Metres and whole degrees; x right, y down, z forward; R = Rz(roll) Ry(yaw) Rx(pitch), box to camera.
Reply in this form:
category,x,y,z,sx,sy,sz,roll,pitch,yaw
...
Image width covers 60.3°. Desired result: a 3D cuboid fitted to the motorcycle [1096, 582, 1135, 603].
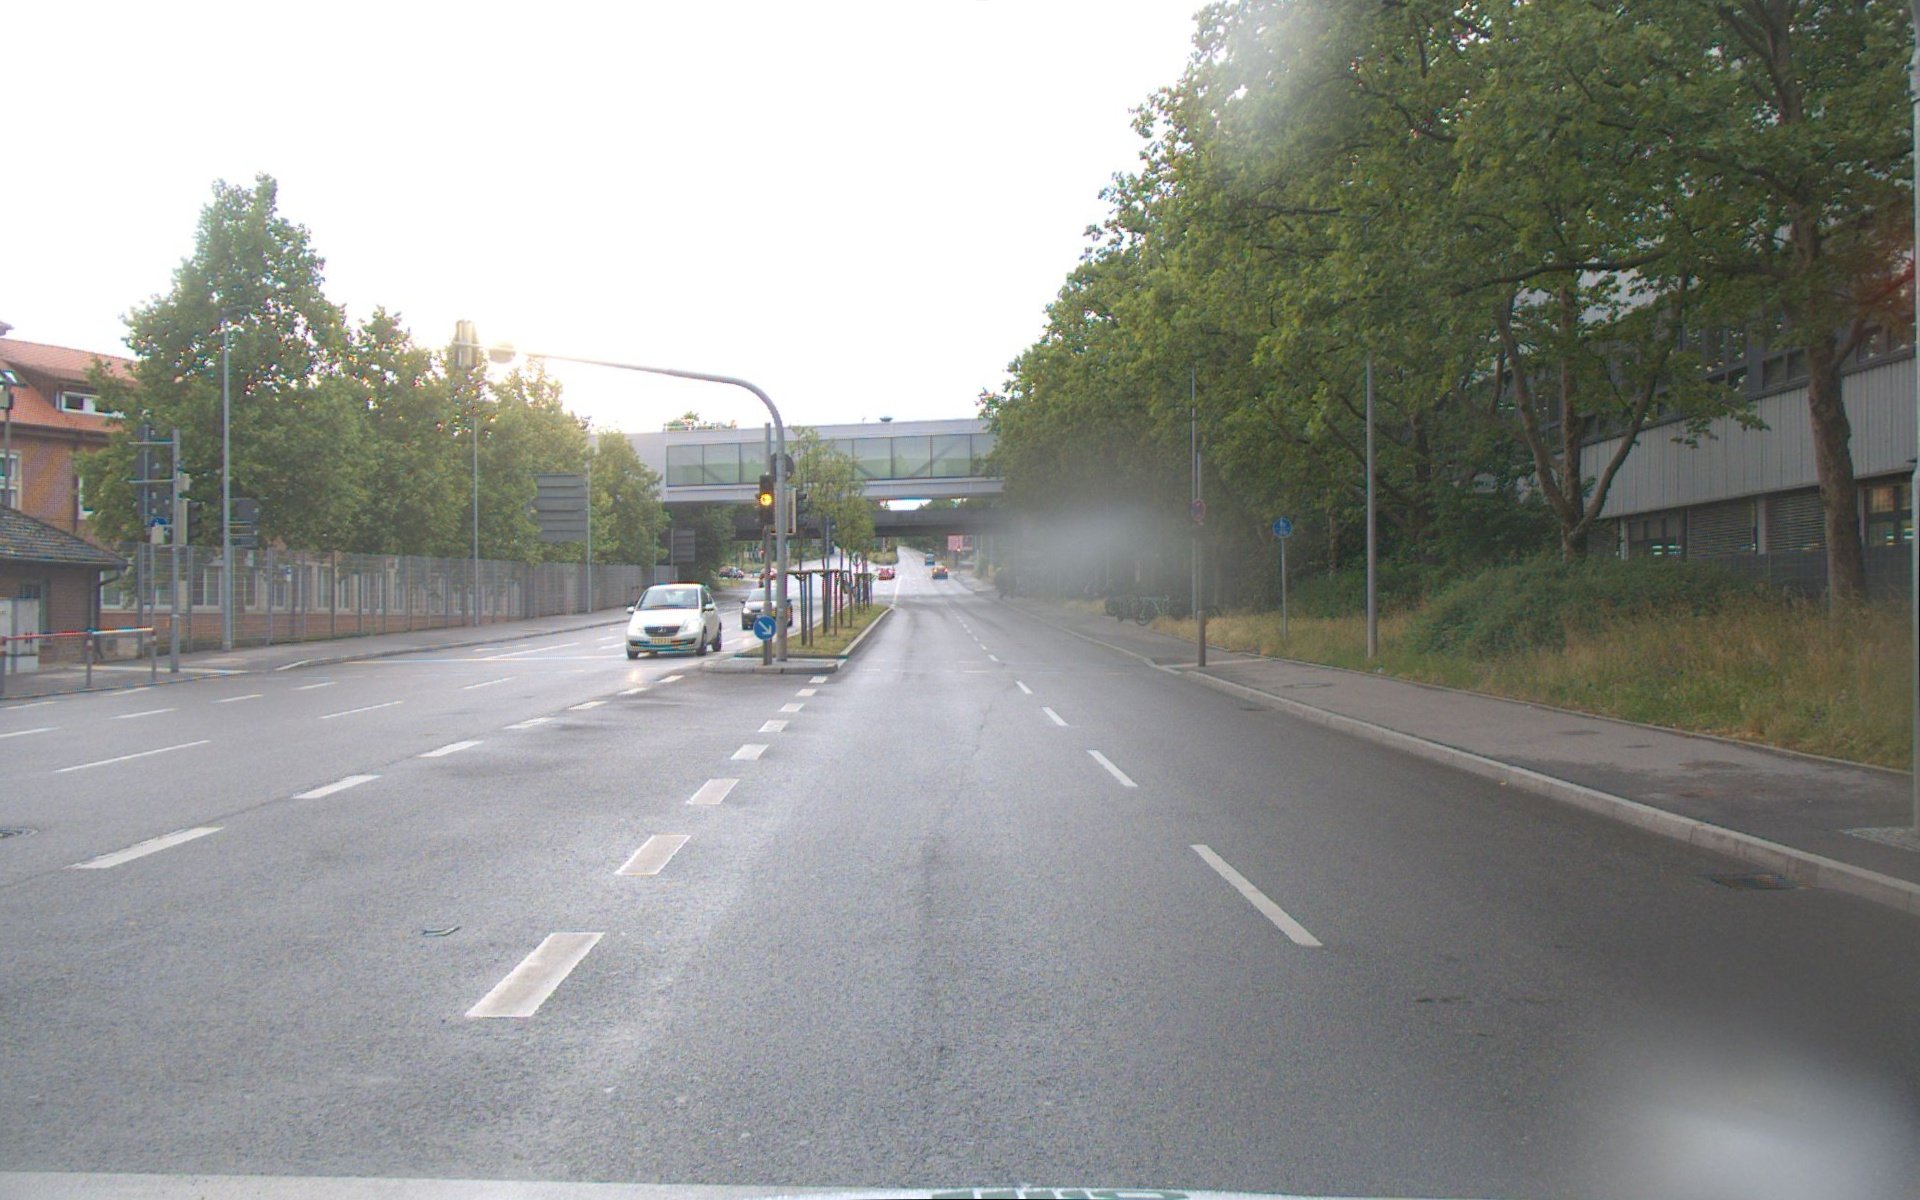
category,x,y,z,sx,sy,sz,roll,pitch,yaw
motorcycle,9.456,-0.464,100.374,2.318,1.223,0.723,-1,0,7

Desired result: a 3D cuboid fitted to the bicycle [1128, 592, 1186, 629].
category,x,y,z,sx,sy,sz,roll,pitch,yaw
bicycle,6.932,0.375,58.164,1.949,1.255,0.541,2,-1,0

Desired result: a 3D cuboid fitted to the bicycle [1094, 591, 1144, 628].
category,x,y,z,sx,sy,sz,roll,pitch,yaw
bicycle,6.503,0.386,67.641,1.949,1.455,0.723,2,-1,0

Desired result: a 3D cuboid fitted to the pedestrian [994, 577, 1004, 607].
category,x,y,z,sx,sy,sz,roll,pitch,yaw
pedestrian,2.620,-0.545,112.430,0.609,2.049,0.605,-1,0,-1

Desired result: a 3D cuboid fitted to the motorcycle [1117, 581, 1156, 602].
category,x,y,z,sx,sy,sz,roll,pitch,yaw
motorcycle,10.585,-0.509,99.087,2.318,1.223,0.723,-1,0,7

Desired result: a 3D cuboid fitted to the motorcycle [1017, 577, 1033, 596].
category,x,y,z,sx,sy,sz,roll,pitch,yaw
motorcycle,4.792,-0.970,122.070,0.775,1.334,2.371,-1,0,-9

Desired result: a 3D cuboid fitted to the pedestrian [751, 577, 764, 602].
category,x,y,z,sx,sy,sz,roll,pitch,yaw
pedestrian,-16.607,-0.829,135.746,0.854,2.039,0.855,-1,0,2

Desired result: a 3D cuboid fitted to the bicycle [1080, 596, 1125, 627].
category,x,y,z,sx,sy,sz,roll,pitch,yaw
bicycle,6.407,0.524,74.451,1.923,1.352,0.654,2,-1,0

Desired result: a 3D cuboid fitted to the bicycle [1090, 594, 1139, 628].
category,x,y,z,sx,sy,sz,roll,pitch,yaw
bicycle,6.453,0.469,69.204,1.949,1.352,0.576,2,-1,0

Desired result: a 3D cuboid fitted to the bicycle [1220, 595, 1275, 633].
category,x,y,z,sx,sy,sz,roll,pitch,yaw
bicycle,10.798,0.515,62.089,1.949,1.352,0.576,2,-1,0

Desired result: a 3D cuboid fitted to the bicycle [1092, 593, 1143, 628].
category,x,y,z,sx,sy,sz,roll,pitch,yaw
bicycle,6.261,0.420,65.960,1.949,1.352,0.576,2,-1,0

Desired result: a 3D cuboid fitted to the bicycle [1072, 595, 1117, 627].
category,x,y,z,sx,sy,sz,roll,pitch,yaw
bicycle,5.999,0.500,73.640,1.923,1.352,0.654,2,-1,0

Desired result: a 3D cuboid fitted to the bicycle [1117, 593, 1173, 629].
category,x,y,z,sx,sy,sz,roll,pitch,yaw
bicycle,6.811,0.404,60.931,1.949,1.263,0.541,2,-1,0

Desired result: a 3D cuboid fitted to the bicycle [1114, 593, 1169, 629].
category,x,y,z,sx,sy,sz,roll,pitch,yaw
bicycle,6.793,0.415,61.879,1.949,1.263,0.541,2,-1,0

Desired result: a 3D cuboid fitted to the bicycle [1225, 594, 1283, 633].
category,x,y,z,sx,sy,sz,roll,pitch,yaw
bicycle,10.661,0.483,59.995,1.949,1.352,0.576,2,-1,0

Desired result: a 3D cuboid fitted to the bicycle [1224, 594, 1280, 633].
category,x,y,z,sx,sy,sz,roll,pitch,yaw
bicycle,10.827,0.506,61.326,1.949,1.352,0.576,2,-1,0

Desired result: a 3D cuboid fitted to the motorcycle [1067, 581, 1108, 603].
category,x,y,z,sx,sy,sz,roll,pitch,yaw
motorcycle,7.479,-0.474,96.906,2.318,1.223,0.723,-1,0,7

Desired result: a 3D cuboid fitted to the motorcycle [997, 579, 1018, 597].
category,x,y,z,sx,sy,sz,roll,pitch,yaw
motorcycle,3.572,-0.931,125.442,0.778,1.334,2.364,-1,0,-19

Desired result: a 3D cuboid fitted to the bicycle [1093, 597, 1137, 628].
category,x,y,z,sx,sy,sz,roll,pitch,yaw
bicycle,7.095,0.566,75.963,1.923,1.352,0.654,2,-1,0

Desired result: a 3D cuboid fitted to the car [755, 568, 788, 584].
category,x,y,z,sx,sy,sz,roll,pitch,yaw
car,-24.707,-3.149,216.713,3.922,2.049,1.991,1,-1,37

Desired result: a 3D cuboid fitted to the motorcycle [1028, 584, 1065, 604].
category,x,y,z,sx,sy,sz,roll,pitch,yaw
motorcycle,5.615,-0.364,106.757,2.318,1.223,0.723,-1,0,7

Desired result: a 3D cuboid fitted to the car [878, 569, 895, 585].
category,x,y,z,sx,sy,sz,roll,pitch,yaw
car,-9.130,-2.862,206.432,1.953,1.792,3.999,2,-1,-1

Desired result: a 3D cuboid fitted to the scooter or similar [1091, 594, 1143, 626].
category,x,y,z,sx,sy,sz,roll,pitch,yaw
scooter or similar,6.081,0.395,64.035,1.949,1.157,0.541,2,-1,0

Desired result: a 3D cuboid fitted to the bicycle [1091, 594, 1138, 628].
category,x,y,z,sx,sy,sz,roll,pitch,yaw
bicycle,6.572,0.477,70.444,1.920,1.352,0.576,2,-1,0

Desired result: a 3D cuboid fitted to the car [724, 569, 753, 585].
category,x,y,z,sx,sy,sz,roll,pitch,yaw
car,-29.860,-3.057,222.799,1.985,2.049,3.935,3,-1,-44

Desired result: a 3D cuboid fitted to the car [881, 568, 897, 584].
category,x,y,z,sx,sy,sz,roll,pitch,yaw
car,-9.034,-3.076,211.050,1.846,1.792,3.968,2,-1,-1

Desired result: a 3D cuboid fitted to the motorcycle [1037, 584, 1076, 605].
category,x,y,z,sx,sy,sz,roll,pitch,yaw
motorcycle,5.908,-0.361,101.620,2.318,1.223,0.723,-1,0,7

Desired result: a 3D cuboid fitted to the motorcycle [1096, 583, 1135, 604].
category,x,y,z,sx,sy,sz,roll,pitch,yaw
motorcycle,9.537,-0.388,101.253,2.318,1.223,0.723,-1,0,7

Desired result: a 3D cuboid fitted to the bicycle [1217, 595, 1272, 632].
category,x,y,z,sx,sy,sz,roll,pitch,yaw
bicycle,10.789,0.524,62.754,1.949,1.352,0.576,2,-1,0

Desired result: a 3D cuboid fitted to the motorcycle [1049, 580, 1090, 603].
category,x,y,z,sx,sy,sz,roll,pitch,yaw
motorcycle,6.316,-0.493,95.413,2.318,1.223,0.723,-1,0,7

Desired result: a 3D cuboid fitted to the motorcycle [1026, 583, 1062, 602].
category,x,y,z,sx,sy,sz,roll,pitch,yaw
motorcycle,5.495,-0.484,108.073,2.318,1.223,0.793,-1,0,7

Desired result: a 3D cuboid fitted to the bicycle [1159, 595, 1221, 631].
category,x,y,z,sx,sy,sz,roll,pitch,yaw
bicycle,7.589,0.419,54.525,1.949,1.114,0.541,2,-1,0

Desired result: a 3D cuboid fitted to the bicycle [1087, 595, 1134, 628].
category,x,y,z,sx,sy,sz,roll,pitch,yaw
bicycle,6.477,0.483,71.132,1.923,1.352,0.654,2,-1,0

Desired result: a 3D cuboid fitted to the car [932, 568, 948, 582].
category,x,y,z,sx,sy,sz,roll,pitch,yaw
car,-2.468,-3.011,203.022,1.837,1.523,4.067,2,-1,-1

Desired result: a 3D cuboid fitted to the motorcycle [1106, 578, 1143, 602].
category,x,y,z,sx,sy,sz,roll,pitch,yaw
motorcycle,10.682,-0.642,107.196,2.318,1.502,0.723,-1,0,7

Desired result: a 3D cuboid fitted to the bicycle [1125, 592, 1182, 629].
category,x,y,z,sx,sy,sz,roll,pitch,yaw
bicycle,6.936,0.388,59.416,1.949,1.263,0.541,2,-1,0

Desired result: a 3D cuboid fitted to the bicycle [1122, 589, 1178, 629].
category,x,y,z,sx,sy,sz,roll,pitch,yaw
bicycle,6.916,0.330,60.241,1.949,1.364,0.541,2,-1,0

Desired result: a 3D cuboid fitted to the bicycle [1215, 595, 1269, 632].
category,x,y,z,sx,sy,sz,roll,pitch,yaw
bicycle,10.793,0.533,63.402,1.949,1.352,0.576,2,-1,0

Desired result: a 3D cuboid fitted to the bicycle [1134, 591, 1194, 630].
category,x,y,z,sx,sy,sz,roll,pitch,yaw
bicycle,6.900,0.354,55.974,1.949,1.237,0.541,2,-1,0

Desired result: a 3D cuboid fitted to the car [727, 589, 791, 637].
category,x,y,z,sx,sy,sz,roll,pitch,yaw
car,-7.237,0.458,59.861,1.839,1.653,3.778,-1,0,-1

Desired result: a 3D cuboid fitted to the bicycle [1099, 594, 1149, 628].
category,x,y,z,sx,sy,sz,roll,pitch,yaw
bicycle,6.785,0.458,68.499,1.949,1.352,0.576,2,-1,0

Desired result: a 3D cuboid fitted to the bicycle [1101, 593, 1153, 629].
category,x,y,z,sx,sy,sz,roll,pitch,yaw
bicycle,6.590,0.420,65.156,1.949,1.352,0.576,2,-1,0

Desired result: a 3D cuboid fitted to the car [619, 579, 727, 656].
category,x,y,z,sx,sy,sz,roll,pitch,yaw
car,-6.518,0.373,37.942,1.839,1.653,3.778,-1,0,-1

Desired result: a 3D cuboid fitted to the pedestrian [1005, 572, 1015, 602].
category,x,y,z,sx,sy,sz,roll,pitch,yaw
pedestrian,3.384,-0.891,112.264,0.609,2.049,0.605,-1,0,-1

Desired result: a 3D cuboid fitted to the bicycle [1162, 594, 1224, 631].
category,x,y,z,sx,sy,sz,roll,pitch,yaw
bicycle,7.596,0.412,53.956,1.949,1.114,0.541,2,-1,0

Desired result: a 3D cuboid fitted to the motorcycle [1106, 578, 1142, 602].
category,x,y,z,sx,sy,sz,roll,pitch,yaw
motorcycle,10.768,-0.668,108.432,2.318,1.502,0.723,-1,0,7
